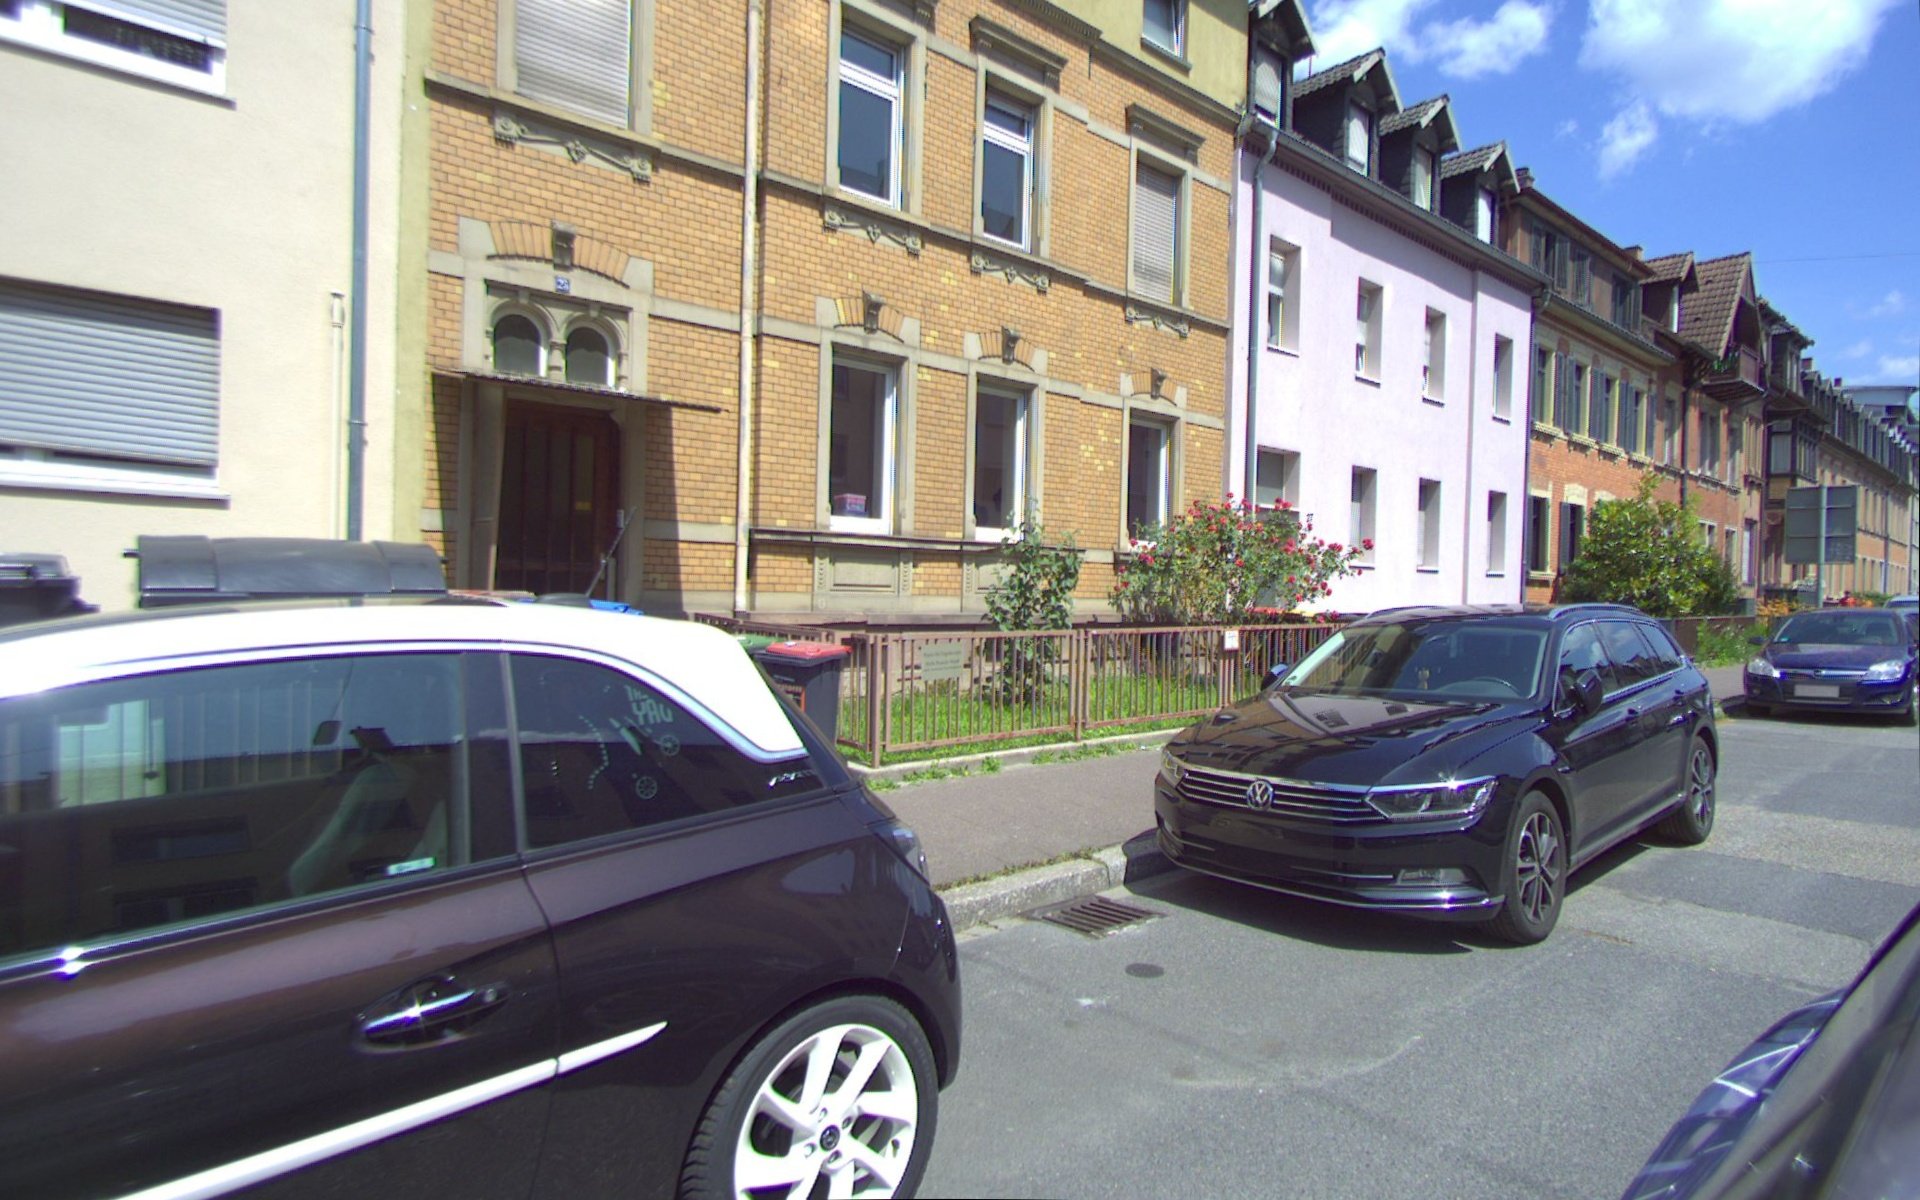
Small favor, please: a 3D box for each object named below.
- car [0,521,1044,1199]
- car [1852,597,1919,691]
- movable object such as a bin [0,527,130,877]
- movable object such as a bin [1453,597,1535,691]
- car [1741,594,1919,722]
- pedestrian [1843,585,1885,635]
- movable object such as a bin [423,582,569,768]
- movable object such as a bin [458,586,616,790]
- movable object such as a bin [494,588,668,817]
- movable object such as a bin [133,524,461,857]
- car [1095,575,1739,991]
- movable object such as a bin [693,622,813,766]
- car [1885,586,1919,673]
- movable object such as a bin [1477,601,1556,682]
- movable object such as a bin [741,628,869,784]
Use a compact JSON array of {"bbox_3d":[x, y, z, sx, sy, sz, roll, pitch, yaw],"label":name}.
[{"bbox_3d":[-1.833,0.657,1.957,3.861,1.498,1.761,0,-1,-40],"label":"car"},{"bbox_3d":[16.757,0.700,17.361,3.863,1.498,1.707,0,-1,-41],"label":"car"},{"bbox_3d":[-4.483,0.391,4.395,1.340,1.413,1.285,1,1,-40],"label":"movable object such as a bin"},{"bbox_3d":[7.541,0.601,14.289,0.862,1.257,0.752,1,1,-42],"label":"movable object such as a bin"},{"bbox_3d":[12.094,0.692,13.689,3.863,1.498,1.707,0,-1,-41],"label":"car"},{"bbox_3d":[34.828,0.368,38.994,0.964,1.885,1.056,1,1,-40],"label":"pedestrian"},{"bbox_3d":[-3.224,0.478,7.024,0.734,1.182,0.723,1,1,-41],"label":"movable object such as a bin"},{"bbox_3d":[-2.712,0.516,6.481,0.734,1.182,0.723,1,1,-41],"label":"movable object such as a bin"},{"bbox_3d":[-2.215,0.544,5.908,0.734,1.203,0.723,1,1,-41],"label":"movable object such as a bin"},{"bbox_3d":[-3.452,0.370,5.247,1.281,1.428,1.285,1,1,-40],"label":"movable object such as a bin"},{"bbox_3d":[2.858,0.676,5.779,4.343,1.498,1.759,0,-1,-42],"label":"car"},{"bbox_3d":[-1.492,0.646,7.272,0.601,0.940,0.626,1,1,-41],"label":"movable object such as a bin"},{"bbox_3d":[20.766,0.582,21.146,3.863,1.732,1.707,0,-1,-41],"label":"car"},{"bbox_3d":[8.158,0.584,14.843,0.862,1.111,0.752,1,1,-42],"label":"movable object such as a bin"},{"bbox_3d":[-1.045,0.682,6.805,0.601,0.940,0.626,1,1,-41],"label":"movable object such as a bin"}]
